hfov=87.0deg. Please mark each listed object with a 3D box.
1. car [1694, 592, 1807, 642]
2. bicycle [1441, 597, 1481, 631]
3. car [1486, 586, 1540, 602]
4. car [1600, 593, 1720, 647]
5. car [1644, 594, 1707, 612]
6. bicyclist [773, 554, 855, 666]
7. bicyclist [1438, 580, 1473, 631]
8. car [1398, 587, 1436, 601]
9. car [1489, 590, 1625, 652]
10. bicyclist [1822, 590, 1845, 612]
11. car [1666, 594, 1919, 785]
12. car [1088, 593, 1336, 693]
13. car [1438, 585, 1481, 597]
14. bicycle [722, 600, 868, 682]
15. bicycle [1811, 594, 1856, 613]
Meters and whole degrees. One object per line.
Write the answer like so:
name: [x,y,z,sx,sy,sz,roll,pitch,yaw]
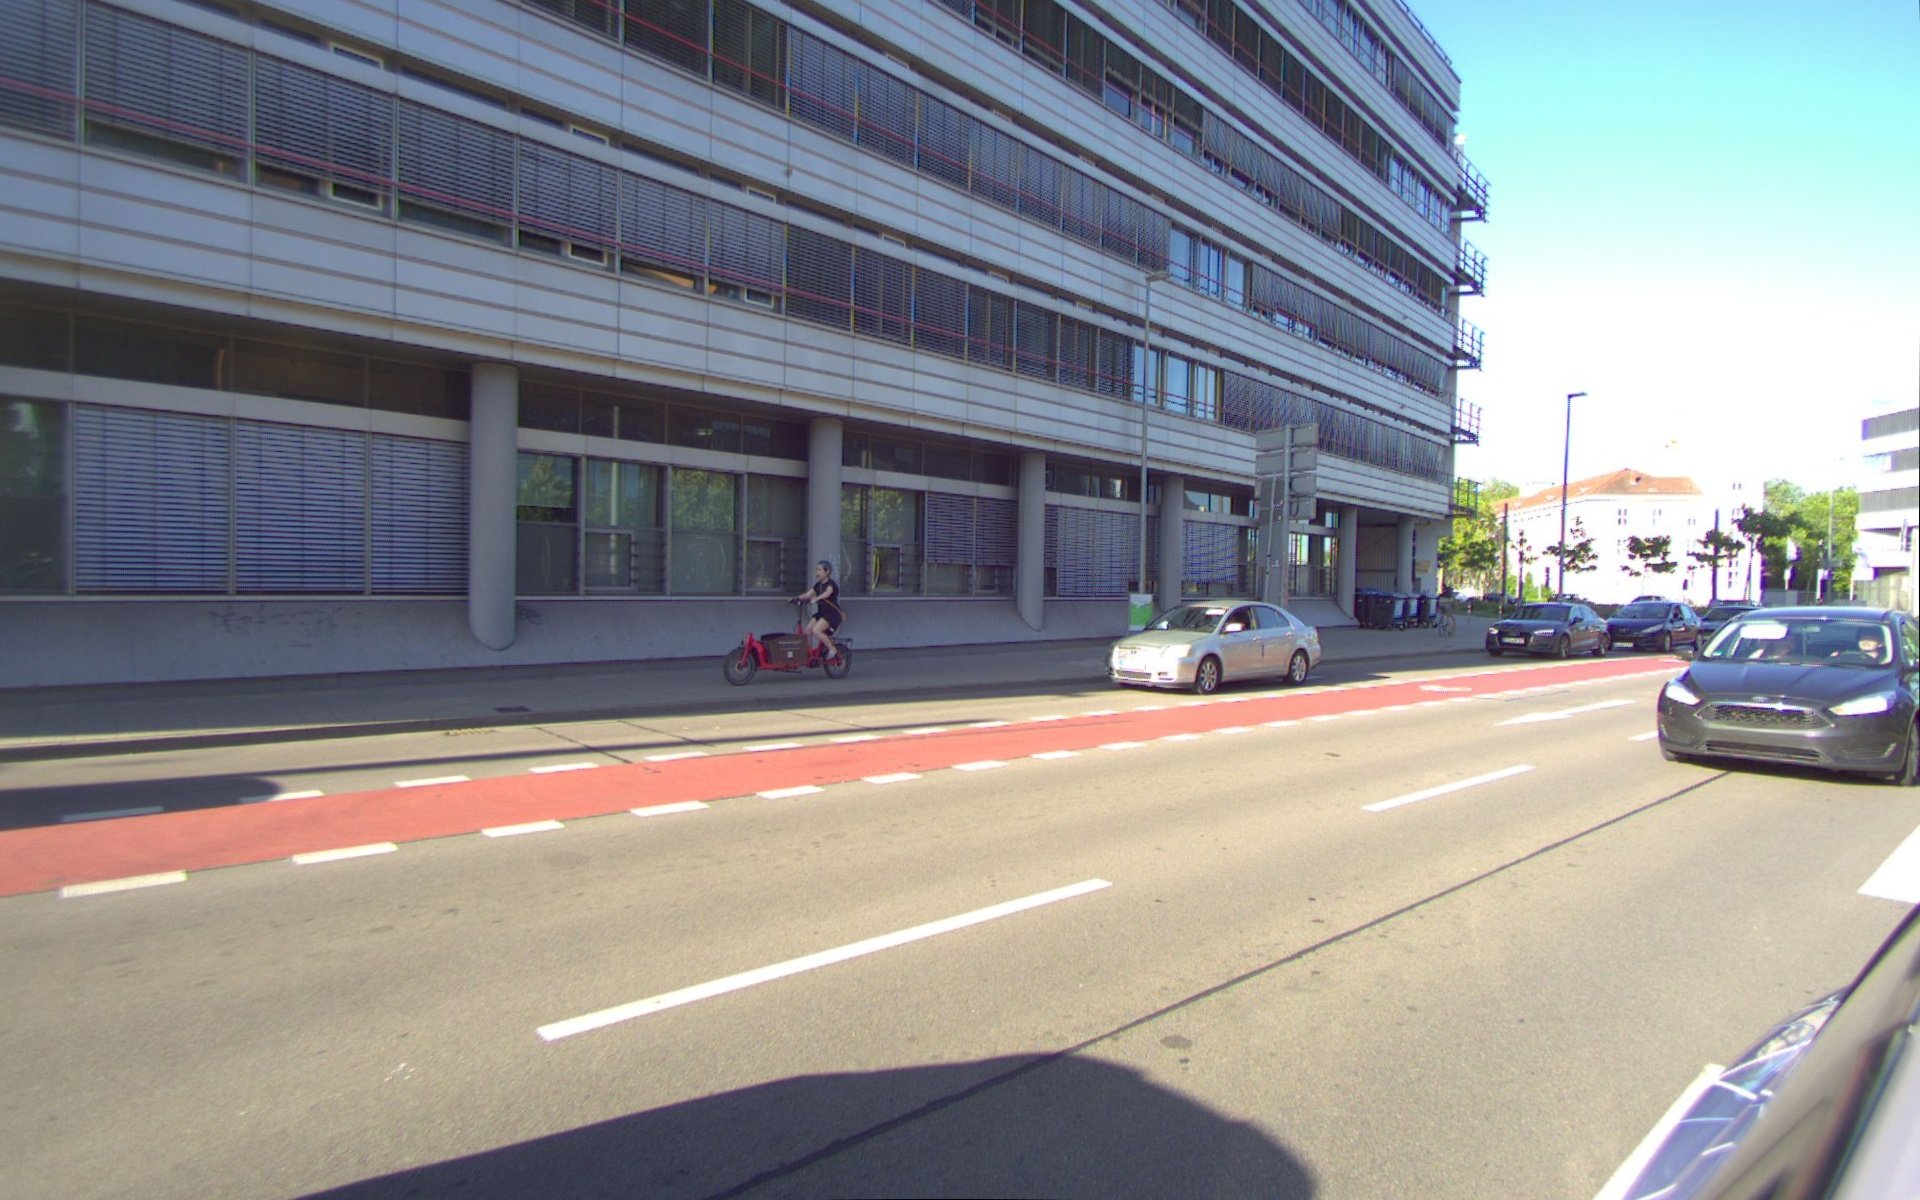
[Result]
car: [26.232,0.577,33.560,3.918,1.463,1.443,2,2,-28]
bicycle: [16.608,0.452,33.543,1.672,1.070,0.505,-1,4,-40]
car: [56.000,-0.613,102.605,1.958,1.440,4.535,0,1,-24]
car: [21.039,0.548,30.378,3.925,1.463,1.737,0,2,-36]
car: [61.985,0.261,87.776,1.958,1.440,4.009,0,1,-21]
bicyclist: [-2.186,0.120,15.173,1.026,1.585,0.625,-3,5,-44]
bicyclist: [16.399,0.172,33.501,0.973,1.638,0.685,0,1,-39]
car: [52.210,-0.694,115.637,1.894,1.393,4.009,0,1,-14]
car: [15.411,0.557,26.057,4.036,1.460,1.714,2,-2,-39]
bicyclist: [64.635,0.088,74.914,0.862,1.627,1.009,0,1,-27]
car: [8.286,0.670,9.648,4.082,1.451,1.688,0,0,-42]
car: [4.345,0.629,17.096,4.408,1.449,1.755,0,2,-39]
car: [54.013,-0.986,109.571,1.958,1.259,4.009,0,1,-15]
bicycle: [-2.387,0.566,14.865,2.169,1.044,0.499,-2,6,-43]
bicycle: [64.627,0.250,74.894,0.932,1.328,2.376,0,1,-28]
